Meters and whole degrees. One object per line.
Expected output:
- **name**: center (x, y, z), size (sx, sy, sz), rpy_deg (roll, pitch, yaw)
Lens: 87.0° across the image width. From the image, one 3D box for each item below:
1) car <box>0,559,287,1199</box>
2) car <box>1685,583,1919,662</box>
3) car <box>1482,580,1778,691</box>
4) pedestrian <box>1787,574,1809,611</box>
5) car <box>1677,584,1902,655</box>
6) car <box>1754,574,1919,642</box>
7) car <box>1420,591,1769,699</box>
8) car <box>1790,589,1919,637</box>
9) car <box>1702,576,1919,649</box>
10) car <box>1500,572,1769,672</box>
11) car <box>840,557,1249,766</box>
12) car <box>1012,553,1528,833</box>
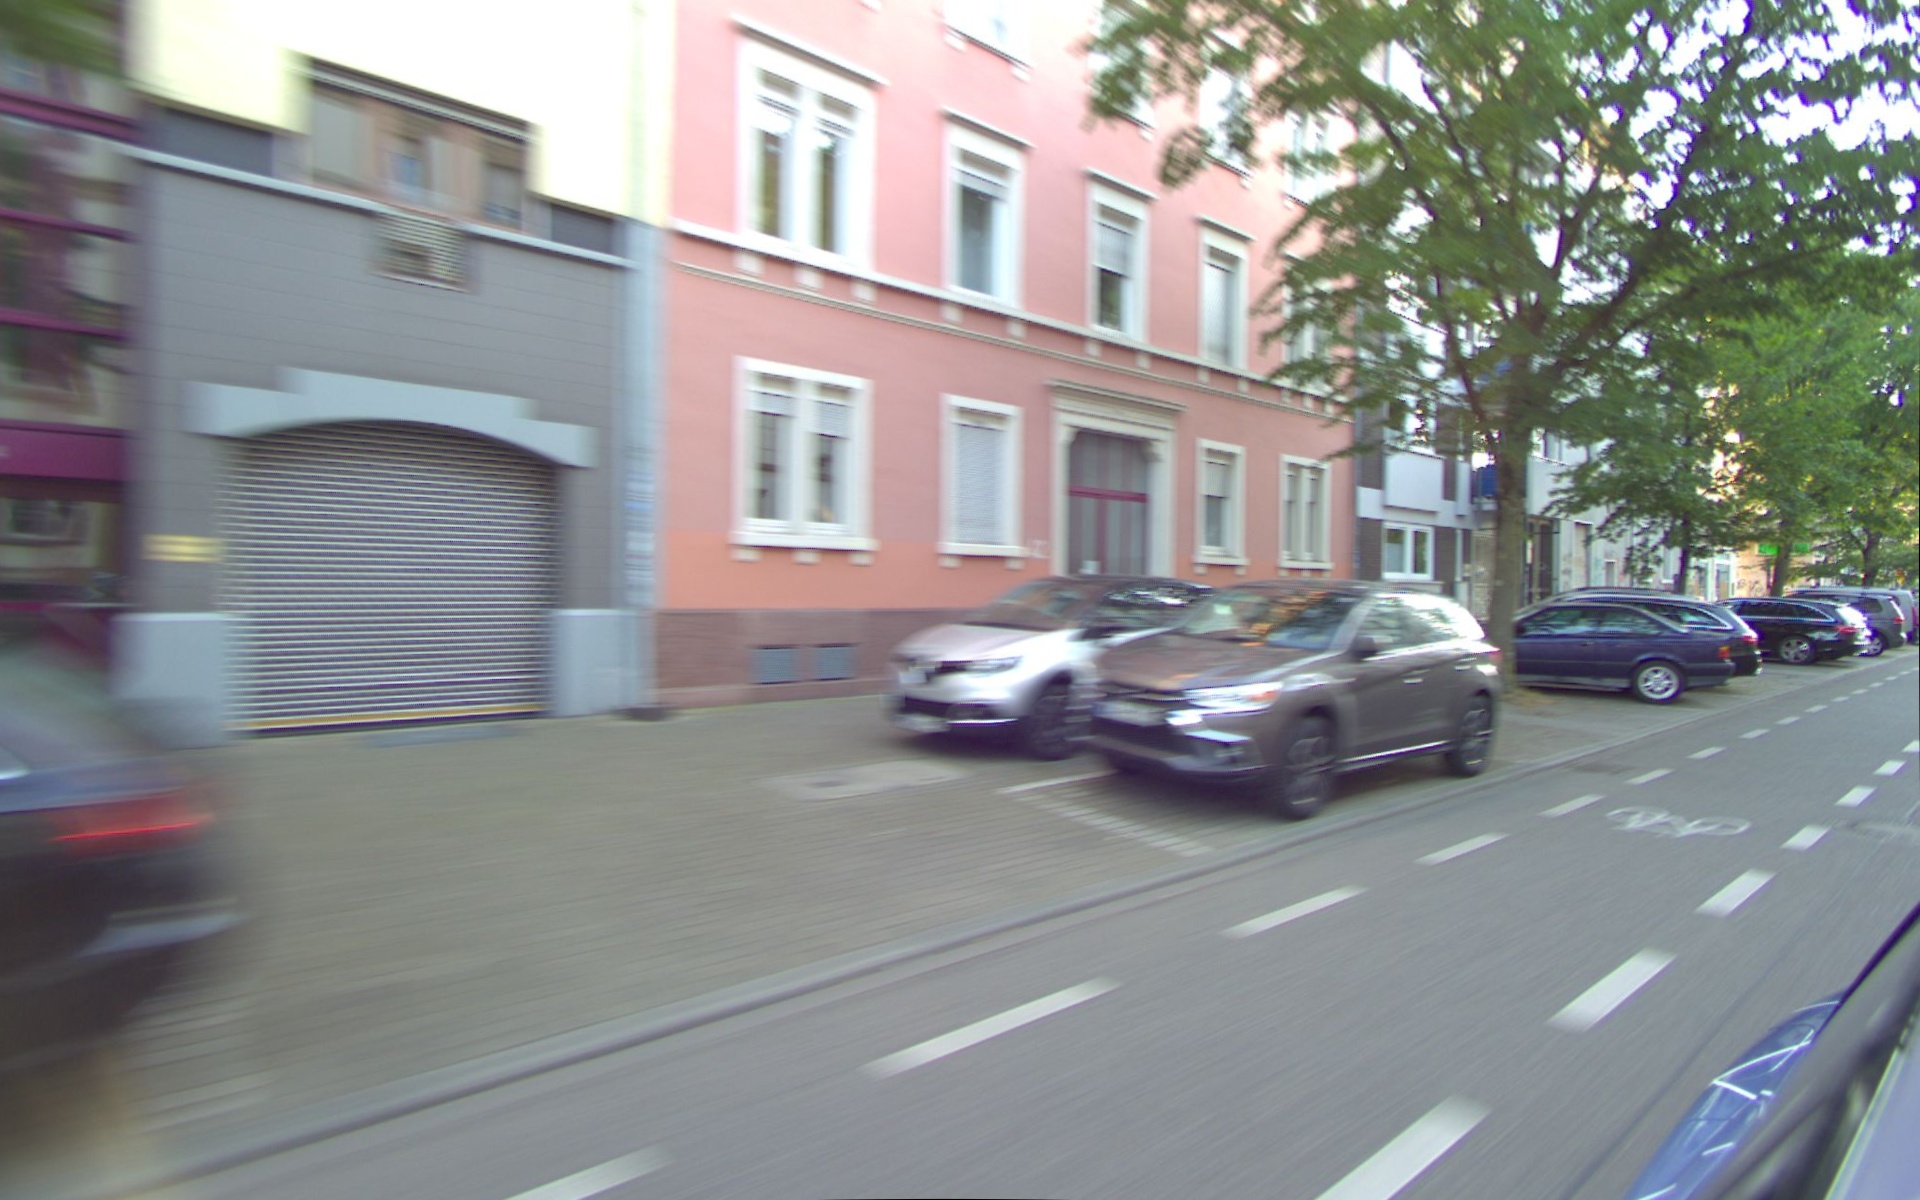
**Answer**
- **car**: center (-4.332, 0.645, 1.885), size (4.947, 1.507, 1.998), rpy_deg (0, 2, -41)
- **car**: center (18.867, 0.438, 22.270), size (1.687, 1.482, 4.392), rpy_deg (1, 1, -35)
- **car**: center (11.129, 0.507, 17.101), size (3.945, 1.573, 1.700), rpy_deg (2, 2, 32)
- **pedestrian**: center (43.082, -0.383, 52.036), size (0.600, 1.855, 0.560), rpy_deg (3, 0, -4)
- **car**: center (19.927, 0.413, 24.556), size (3.970, 1.482, 1.700), rpy_deg (2, 1, 32)
- **car**: center (26.708, 0.206, 30.574), size (3.964, 1.838, 1.806), rpy_deg (3, 1, 29)
- **car**: center (9.226, 0.585, 15.158), size (4.217, 1.405, 1.607), rpy_deg (1, 1, 24)
- **car**: center (30.781, 0.418, 34.176), size (3.967, 1.560, 1.760), rpy_deg (1, 1, 31)
- **car**: center (22.662, 0.284, 27.125), size (4.153, 1.717, 1.829), rpy_deg (2, 1, 28)
- **car**: center (12.368, 0.351, 18.894), size (3.964, 1.613, 1.702), rpy_deg (2, 0, 29)
- **car**: center (0.972, 0.439, 9.840), size (1.880, 1.604, 3.956), rpy_deg (1, 1, 44)
- **car**: center (2.625, 0.521, 8.111), size (4.185, 1.637, 1.885), rpy_deg (0, 3, -39)
